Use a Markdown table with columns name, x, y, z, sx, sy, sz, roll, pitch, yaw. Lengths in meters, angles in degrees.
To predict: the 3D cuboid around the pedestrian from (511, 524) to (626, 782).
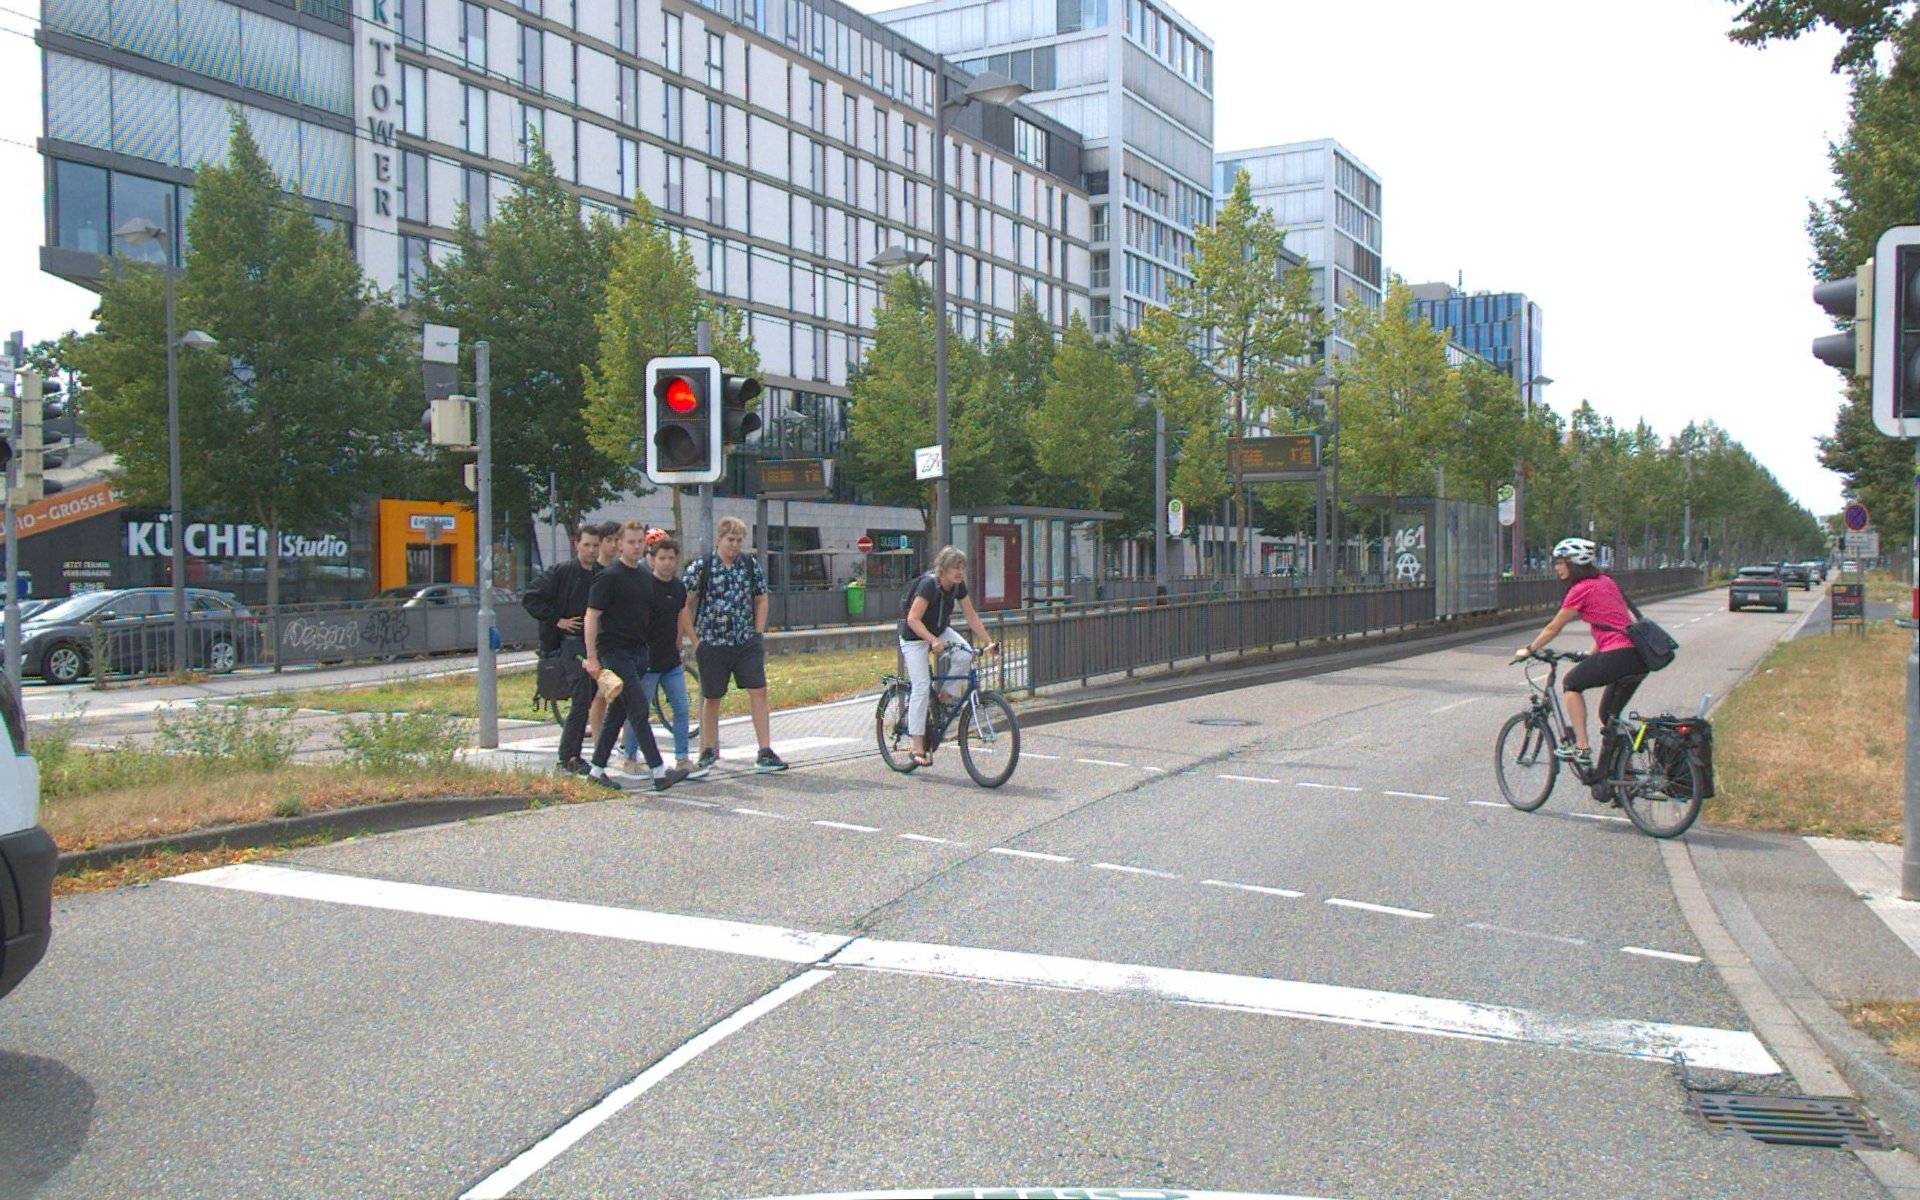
| name | x | y | z | sx | sy | sz | roll | pitch | yaw |
| --- | --- | --- | --- | --- | --- | --- | --- | --- | --- |
| pedestrian | -2.838 | 0.365 | 12.019 | 0.540 | 1.812 | 0.633 | 0 | 1 | 23 |

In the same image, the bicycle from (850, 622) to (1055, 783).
| name | x | y | z | sx | sy | sz | roll | pitch | yaw |
| --- | --- | --- | --- | --- | --- | --- | --- | --- | --- |
| bicycle | -0.082 | 0.729 | 12.357 | 0.544 | 1.077 | 1.686 | 0 | 1 | -43 |

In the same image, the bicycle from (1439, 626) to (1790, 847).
| name | x | y | z | sx | sy | sz | roll | pitch | yaw |
| --- | --- | --- | --- | --- | --- | --- | --- | --- | --- |
| bicycle | 4.097 | 0.799 | 10.523 | 0.781 | 1.188 | 2.019 | -1 | 1 | -32 |

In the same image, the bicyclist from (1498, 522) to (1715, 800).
| name | x | y | z | sx | sy | sz | roll | pitch | yaw |
| --- | --- | --- | --- | --- | --- | --- | --- | --- | --- |
| bicyclist | 4.098 | 0.349 | 10.515 | 0.782 | 1.655 | 1.037 | -1 | 1 | -33 |

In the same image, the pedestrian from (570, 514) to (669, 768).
| name | x | y | z | sx | sy | sz | roll | pitch | yaw |
| --- | --- | --- | --- | --- | --- | --- | --- | --- | --- |
| pedestrian | -2.616 | 0.301 | 12.728 | 0.540 | 1.894 | 0.531 | 0 | 1 | 23 |

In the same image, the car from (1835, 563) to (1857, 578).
| name | x | y | z | sx | sy | sz | roll | pitch | yaw |
| --- | --- | --- | --- | --- | --- | --- | --- | --- | --- |
| car | 100.061 | -3.354 | 186.836 | 1.957 | 1.646 | 4.742 | 0 | 1 | 31 |

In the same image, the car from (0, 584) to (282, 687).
| name | x | y | z | sx | sy | sz | roll | pitch | yaw |
| --- | --- | --- | --- | --- | --- | --- | --- | --- | --- |
| car | -13.655 | 0.498 | 26.953 | 1.808 | 1.483 | 4.729 | 1 | 1 | 30 |

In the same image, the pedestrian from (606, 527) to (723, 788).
| name | x | y | z | sx | sy | sz | roll | pitch | yaw |
| --- | --- | --- | --- | --- | --- | --- | --- | --- | --- |
| pedestrian | -2.118 | 0.391 | 11.907 | 0.540 | 1.812 | 0.690 | 0 | 1 | 23 |

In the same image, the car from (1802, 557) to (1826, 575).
| name | x | y | z | sx | sy | sz | roll | pitch | yaw |
| --- | --- | --- | --- | --- | --- | --- | --- | --- | --- |
| car | 73.379 | -2.946 | 142.127 | 1.761 | 1.523 | 4.113 | 0 | 1 | 27 |

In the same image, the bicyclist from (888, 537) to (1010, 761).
| name | x | y | z | sx | sy | sz | roll | pitch | yaw |
| --- | --- | --- | --- | --- | --- | --- | --- | --- | --- |
| bicyclist | -0.085 | 0.348 | 12.350 | 0.556 | 1.608 | 0.753 | 0 | 1 | -43 |

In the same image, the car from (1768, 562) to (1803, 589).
| name | x | y | z | sx | sy | sz | roll | pitch | yaw |
| --- | --- | --- | --- | --- | --- | --- | --- | --- | --- |
| car | 49.065 | -1.450 | 98.244 | 1.703 | 1.545 | 4.140 | 0 | 1 | 29 |

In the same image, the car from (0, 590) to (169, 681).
| name | x | y | z | sx | sy | sz | roll | pitch | yaw |
| --- | --- | --- | --- | --- | --- | --- | --- | --- | --- |
| car | -16.344 | 0.587 | 29.192 | 1.808 | 1.483 | 3.993 | 1 | 1 | 30 |

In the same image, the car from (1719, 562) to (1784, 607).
| name | x | y | z | sx | sy | sz | roll | pitch | yaw |
| --- | --- | --- | --- | --- | --- | --- | --- | --- | --- |
| car | 28.980 | -0.593 | 60.495 | 2.018 | 1.578 | 4.469 | 0 | 1 | 28 |

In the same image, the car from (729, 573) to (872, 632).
| name | x | y | z | sx | sy | sz | roll | pitch | yaw |
| --- | --- | --- | --- | --- | --- | --- | --- | --- | --- |
| car | -4.192 | 0.020 | 44.039 | 1.809 | 1.483 | 3.992 | 1 | 1 | 31 |

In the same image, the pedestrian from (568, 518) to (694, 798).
| name | x | y | z | sx | sy | sz | roll | pitch | yaw |
| --- | --- | --- | --- | --- | --- | --- | --- | --- | --- |
| pedestrian | -2.204 | 0.370 | 11.132 | 0.540 | 1.812 | 0.690 | 0 | 1 | 23 |

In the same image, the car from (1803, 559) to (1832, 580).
| name | x | y | z | sx | sy | sz | roll | pitch | yaw |
| --- | --- | --- | --- | --- | --- | --- | --- | --- | --- |
| car | 62.008 | -2.223 | 119.679 | 1.789 | 1.488 | 4.256 | 0 | 1 | 26 |

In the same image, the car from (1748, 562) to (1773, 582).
| name | x | y | z | sx | sy | sz | roll | pitch | yaw |
| --- | --- | --- | --- | --- | --- | --- | --- | --- | --- |
| car | 63.266 | -2.207 | 130.727 | 1.693 | 1.560 | 4.368 | 0 | 1 | 26 |

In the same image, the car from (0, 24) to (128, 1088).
| name | x | y | z | sx | sy | sz | roll | pitch | yaw |
| --- | --- | --- | --- | --- | --- | --- | --- | --- | --- |
| car | -3.688 | -0.072 | 2.070 | 2.081 | 2.744 | 5.635 | 0 | 1 | 4 |

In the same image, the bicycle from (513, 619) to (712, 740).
| name | x | y | z | sx | sy | sz | roll | pitch | yaw |
| --- | --- | --- | --- | --- | --- | --- | --- | --- | --- |
| bicycle | -3.185 | 0.707 | 15.157 | 1.715 | 1.024 | 0.654 | 0 | 1 | 23 |

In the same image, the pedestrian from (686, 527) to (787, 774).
| name | x | y | z | sx | sy | sz | roll | pitch | yaw |
| --- | --- | --- | --- | --- | --- | --- | --- | --- | --- |
| pedestrian | -1.688 | 0.367 | 12.509 | 0.540 | 1.812 | 0.580 | 0 | 1 | 23 |

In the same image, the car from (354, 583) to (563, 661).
| name | x | y | z | sx | sy | sz | roll | pitch | yaw |
| --- | --- | --- | --- | --- | --- | --- | --- | --- | --- |
| car | -10.304 | 0.403 | 34.262 | 1.809 | 1.483 | 3.992 | 1 | 1 | 31 |

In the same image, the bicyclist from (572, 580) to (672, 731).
| name | x | y | z | sx | sy | sz | roll | pitch | yaw |
| --- | --- | --- | --- | --- | --- | --- | --- | --- | --- |
| bicyclist | -3.086 | 0.491 | 15.124 | 0.659 | 1.340 | 0.640 | 0 | 1 | 23 |
